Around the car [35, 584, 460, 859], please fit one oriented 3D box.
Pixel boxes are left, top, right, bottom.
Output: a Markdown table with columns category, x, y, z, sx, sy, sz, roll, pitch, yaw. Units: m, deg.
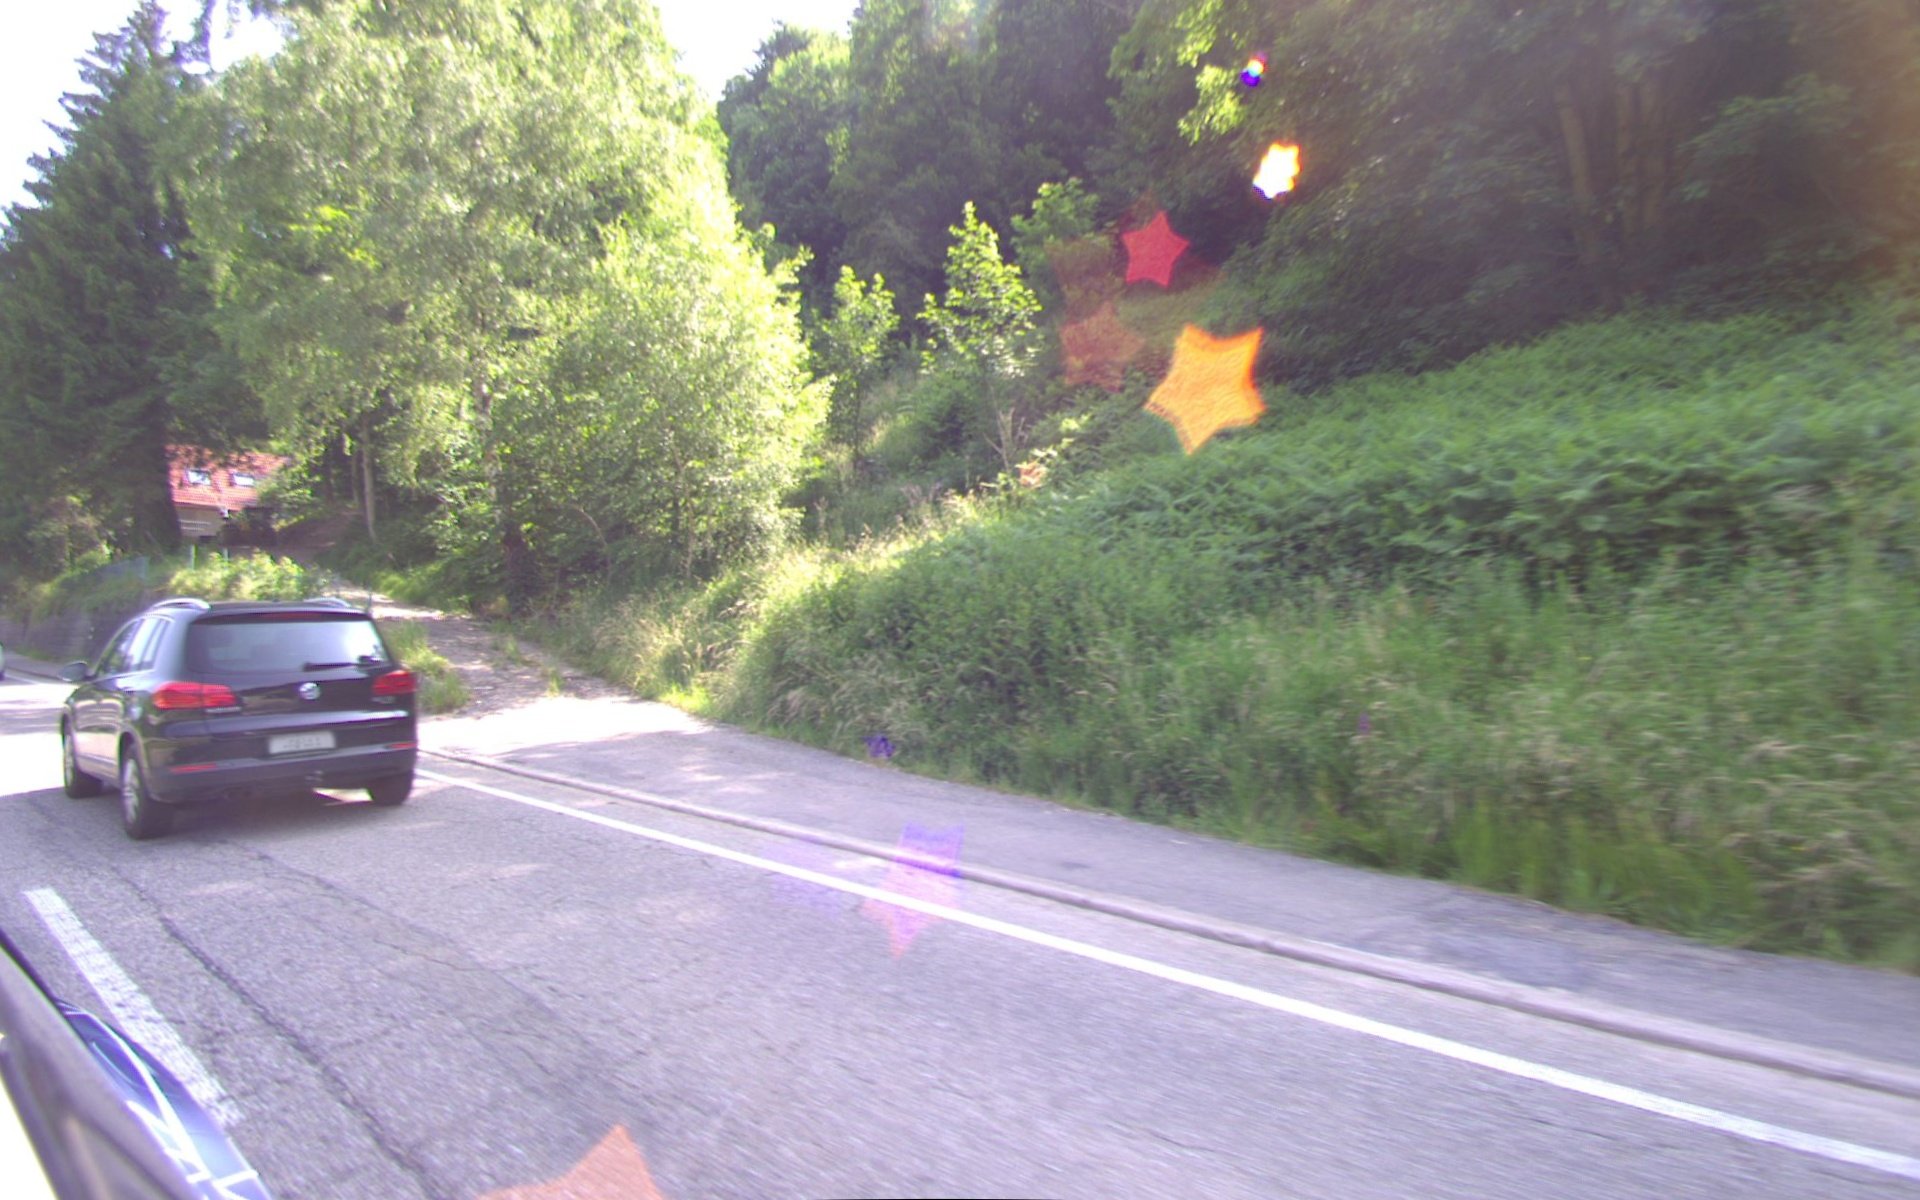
| category | x | y | z | sx | sy | sz | roll | pitch | yaw |
| --- | --- | --- | --- | --- | --- | --- | --- | --- | --- |
| car | -5.928 | 0.803 | 8.223 | 4.255 | 1.657 | 1.869 | -2 | -2 | 41 |

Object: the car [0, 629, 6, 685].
| category | x | y | z | sx | sy | sz | roll | pitch | yaw |
| --- | --- | --- | --- | --- | --- | --- | --- | --- | --- |
| car | -27.351 | 1.502 | 27.422 | 3.998 | 1.448 | 1.759 | 0 | -2 | 41 |

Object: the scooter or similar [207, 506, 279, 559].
| category | x | y | z | sx | sy | sz | roll | pitch | yaw |
| --- | --- | --- | --- | --- | --- | --- | --- | --- | --- |
| scooter or similar | -32.113 | -3.001 | 45.276 | 1.955 | 2.042 | 4.409 | -4 | 2 | -44 |
